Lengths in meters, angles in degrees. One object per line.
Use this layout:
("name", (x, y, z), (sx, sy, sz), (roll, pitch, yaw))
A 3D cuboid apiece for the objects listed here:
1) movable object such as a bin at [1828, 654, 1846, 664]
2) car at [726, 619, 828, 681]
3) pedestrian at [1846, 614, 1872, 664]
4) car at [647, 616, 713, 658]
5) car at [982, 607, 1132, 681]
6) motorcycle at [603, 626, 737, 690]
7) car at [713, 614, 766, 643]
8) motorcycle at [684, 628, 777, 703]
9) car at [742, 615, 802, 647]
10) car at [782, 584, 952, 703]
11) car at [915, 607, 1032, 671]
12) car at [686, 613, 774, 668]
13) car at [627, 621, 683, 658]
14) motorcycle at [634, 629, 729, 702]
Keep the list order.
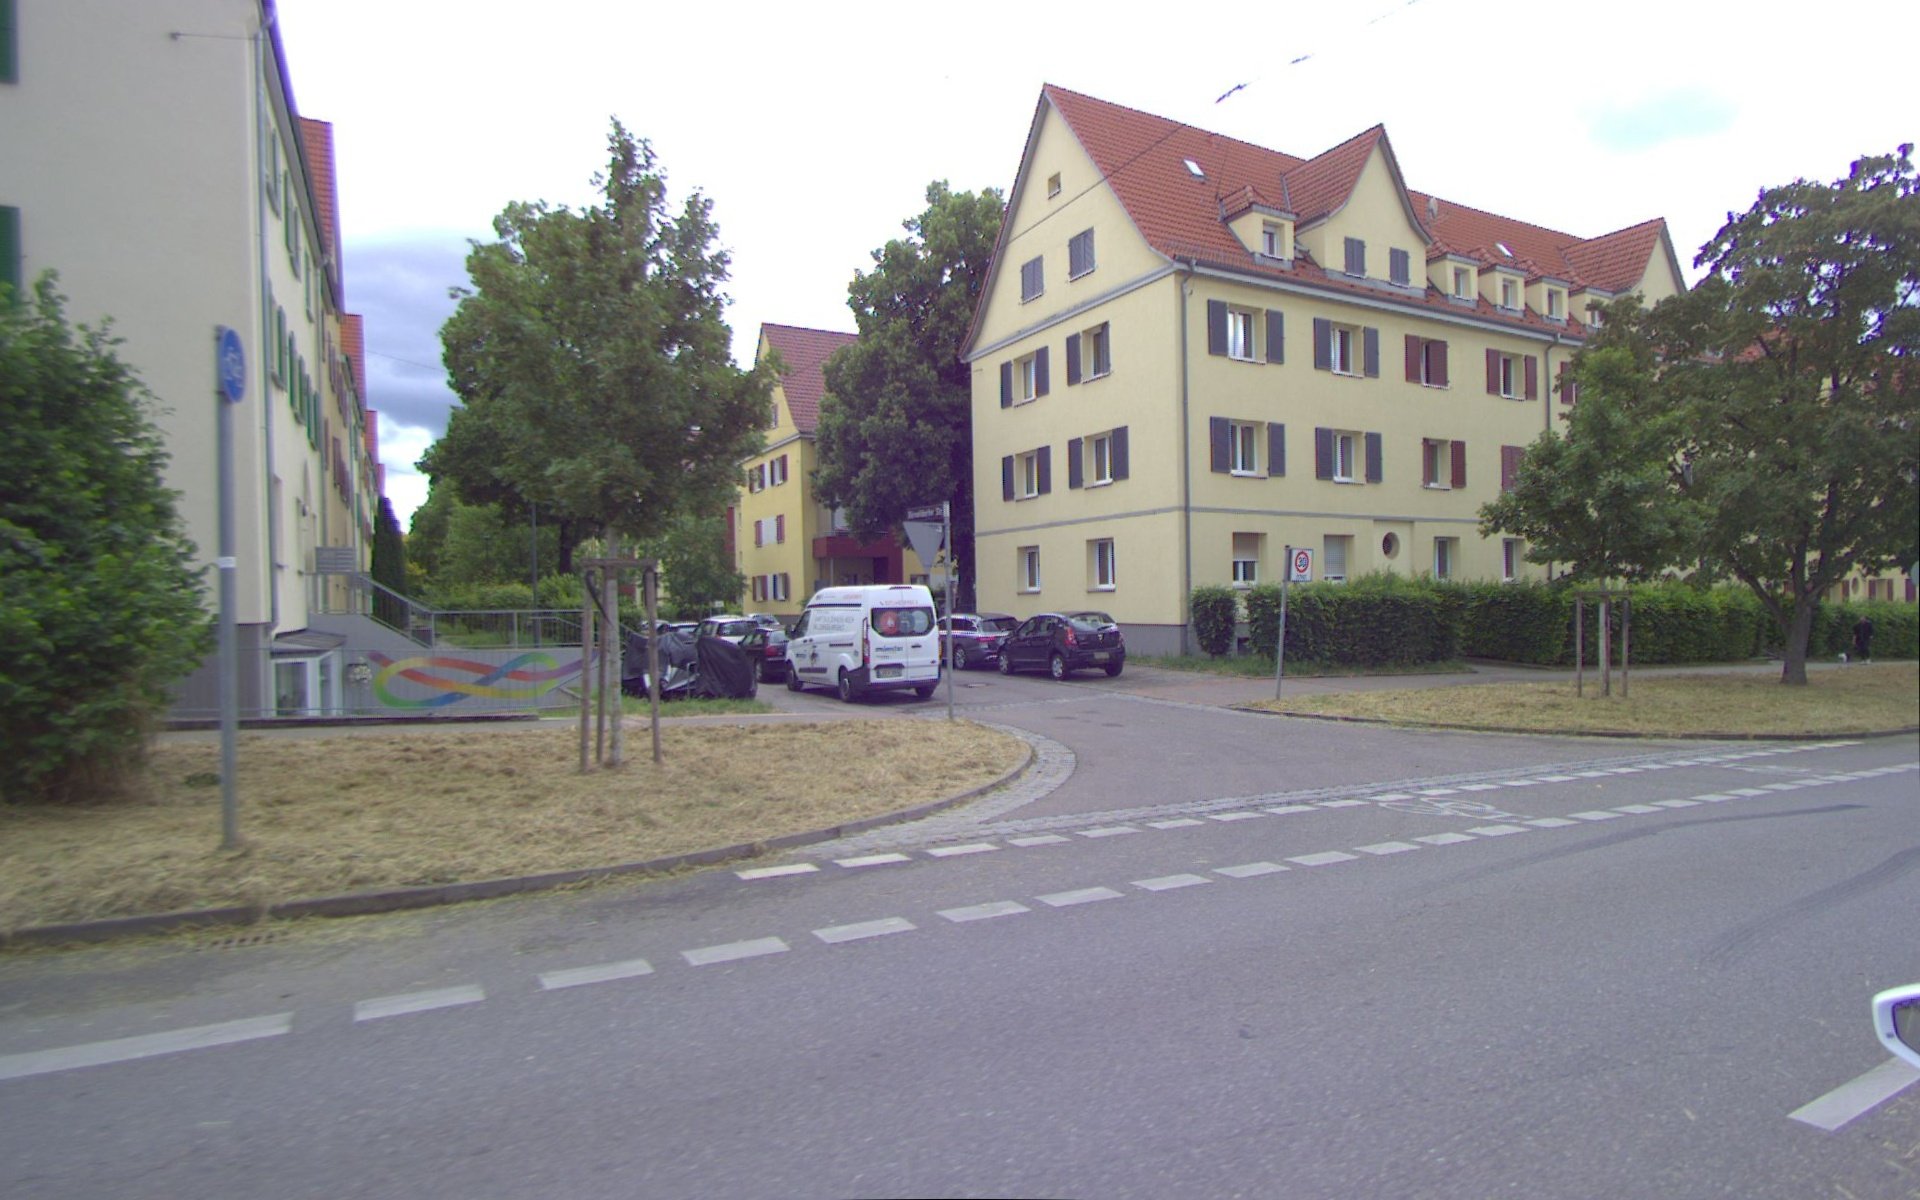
("movable object such as a bin", (32.691, 2.209, 37.439), (0.573, 0.352, 0.305), (1, 0, -24))
("car", (-4.988, 1.290, 27.049), (1.722, 1.486, 3.804), (1, -1, -26))
("pedestrian", (32.799, 1.419, 36.644), (0.744, 1.803, 0.511), (1, 0, -30))
("car", (-10.316, 1.320, 36.864), (1.567, 1.404, 3.446), (1, -1, -29))
("car", (2.252, 0.989, 24.241), (1.670, 1.550, 3.886), (-3, 1, -29))
("motorcycle", (-6.224, 1.218, 21.646), (2.583, 1.296, 1.006), (1, -1, -39))
("car", (-10.670, 1.347, 48.441), (1.523, 1.255, 3.399), (-3, 1, -29))
("motorcycle", (-4.317, 1.203, 19.158), (0.996, 1.295, 2.607), (1, -2, 3))
("car", (-8.267, 1.334, 44.035), (1.523, 1.255, 3.399), (-3, 1, -29))
("car", (-2.160, 0.895, 21.821), (1.970, 2.283, 4.698), (2, -1, -28))
("car", (0.305, 1.024, 27.861), (1.601, 1.550, 3.633), (-3, 1, -29))
("car", (-7.315, 1.228, 31.727), (1.724, 1.587, 3.801), (1, -1, -29))
("car", (-12.678, 1.620, 41.632), (1.567, 1.404, 3.446), (1, -1, -29))
("motorcycle", (-5.466, 1.249, 19.951), (0.996, 1.296, 2.607), (1, -1, 3))
